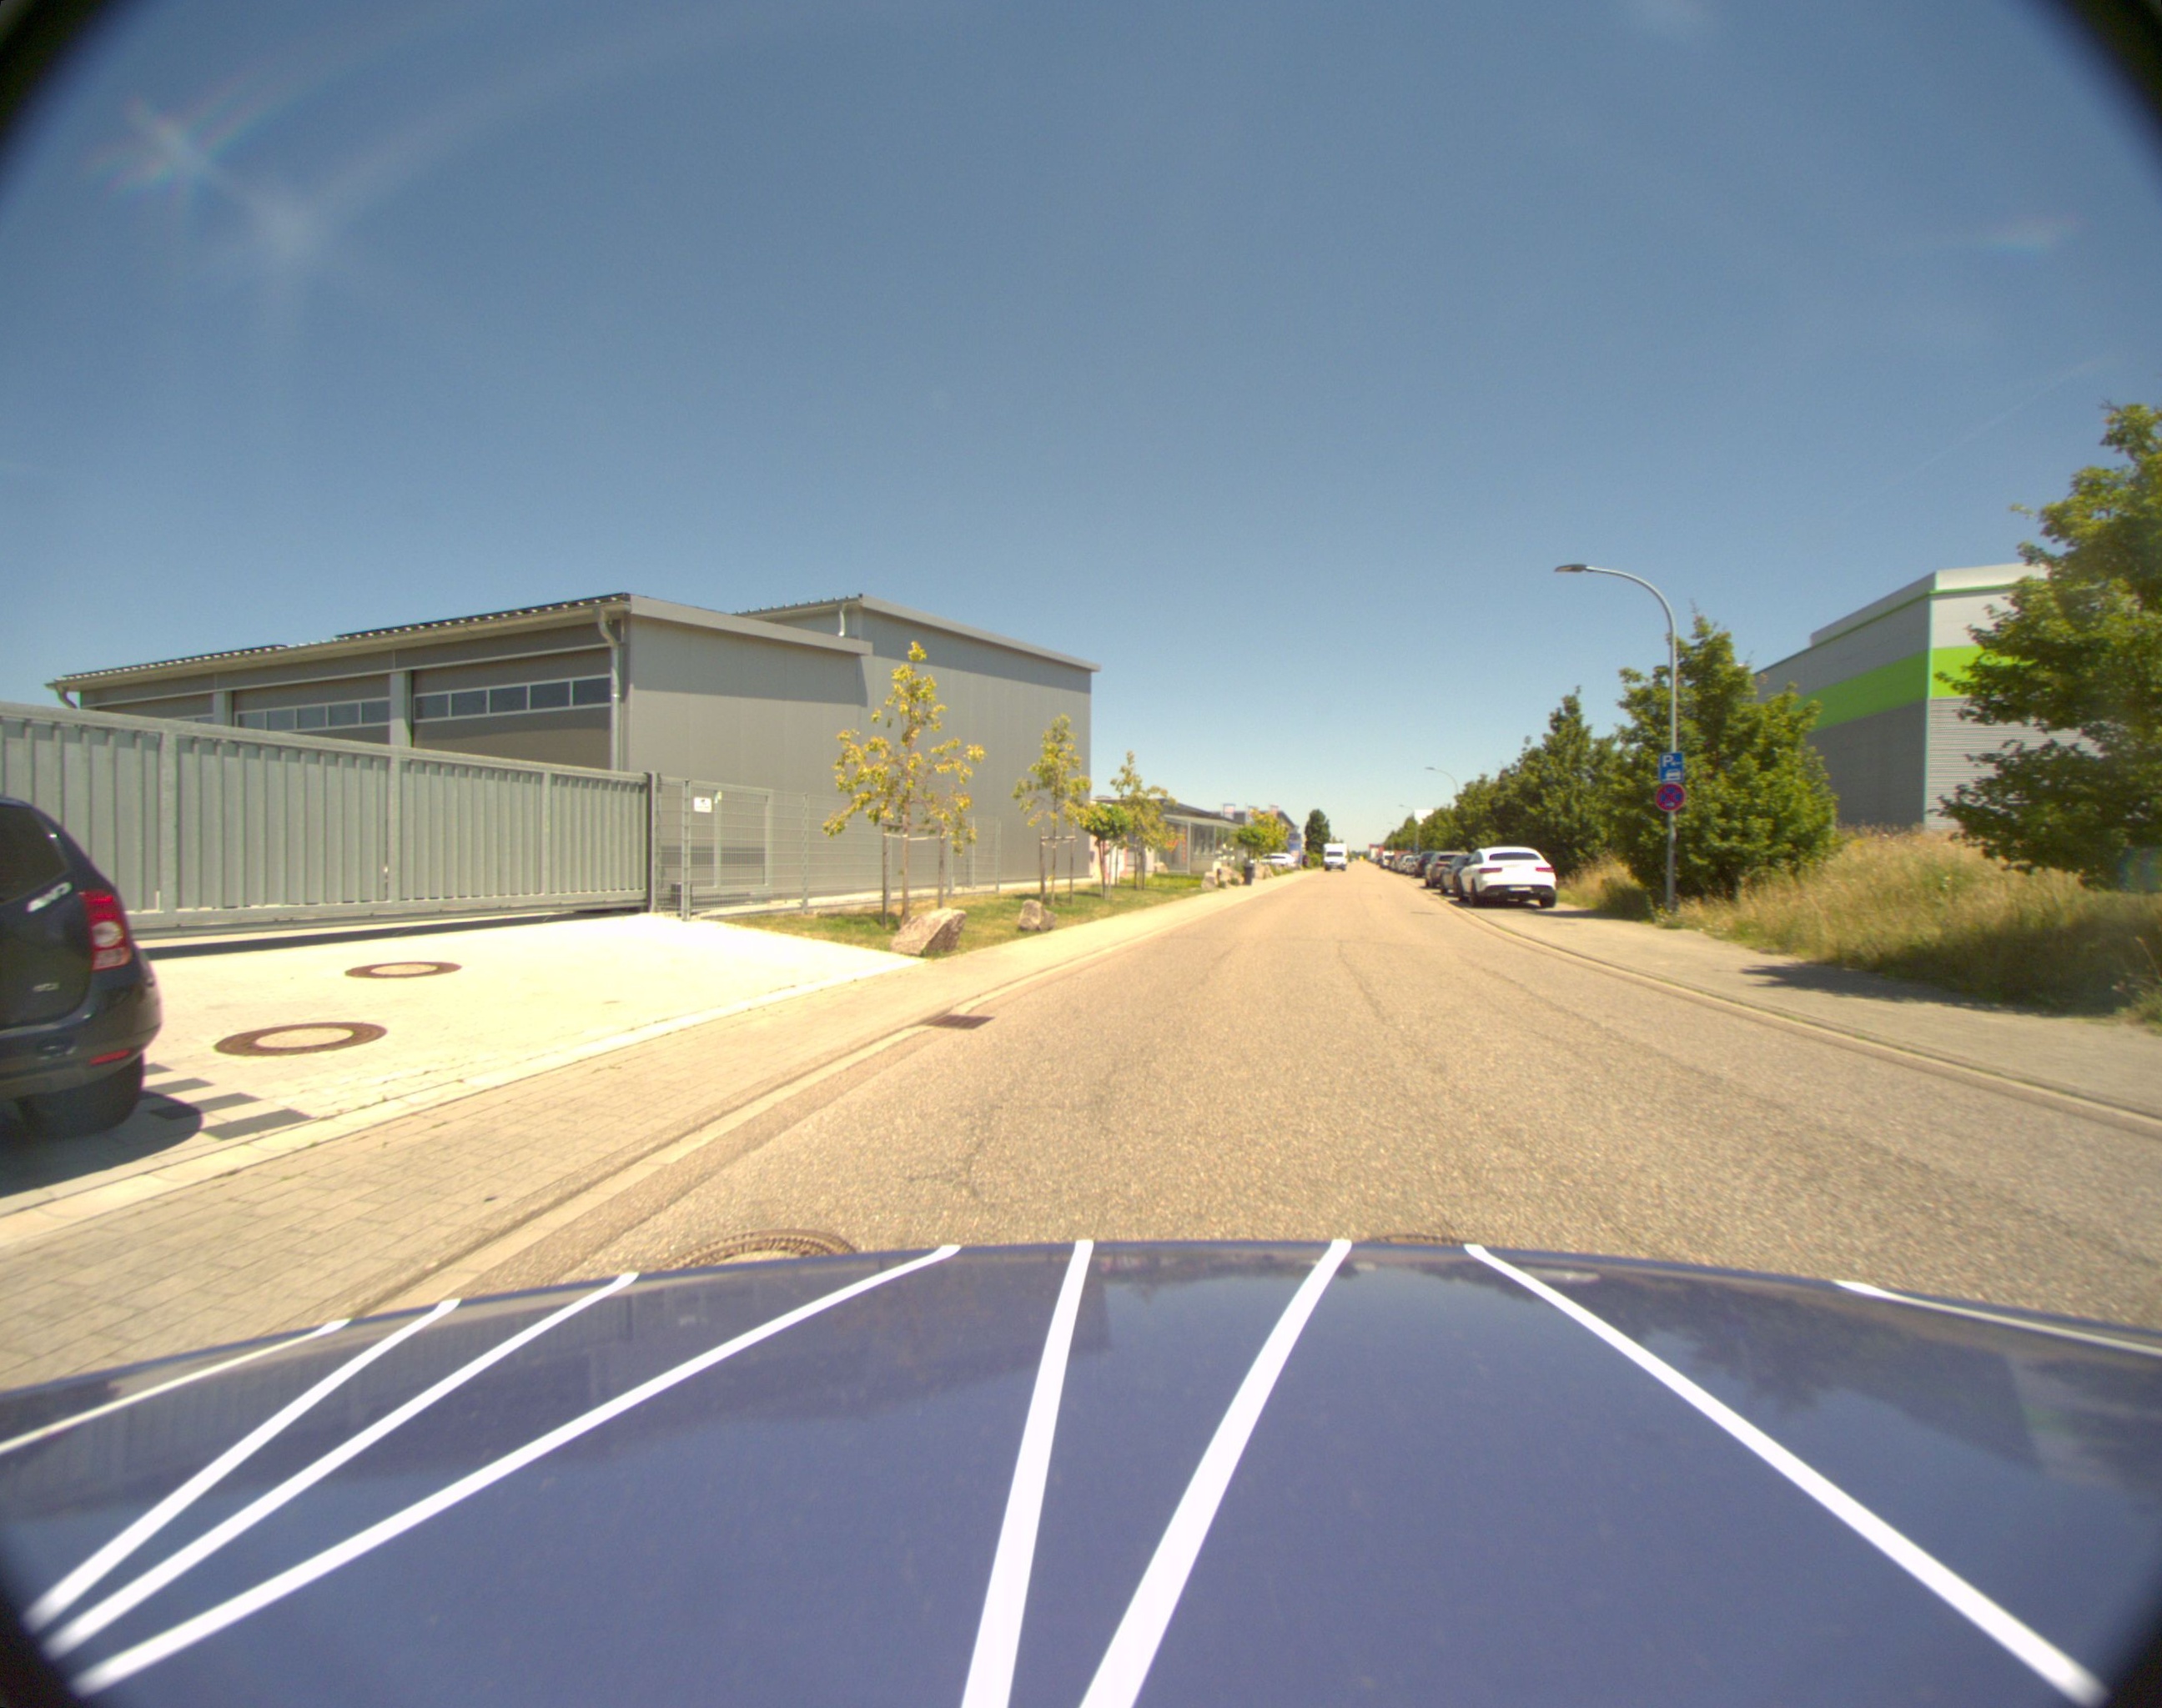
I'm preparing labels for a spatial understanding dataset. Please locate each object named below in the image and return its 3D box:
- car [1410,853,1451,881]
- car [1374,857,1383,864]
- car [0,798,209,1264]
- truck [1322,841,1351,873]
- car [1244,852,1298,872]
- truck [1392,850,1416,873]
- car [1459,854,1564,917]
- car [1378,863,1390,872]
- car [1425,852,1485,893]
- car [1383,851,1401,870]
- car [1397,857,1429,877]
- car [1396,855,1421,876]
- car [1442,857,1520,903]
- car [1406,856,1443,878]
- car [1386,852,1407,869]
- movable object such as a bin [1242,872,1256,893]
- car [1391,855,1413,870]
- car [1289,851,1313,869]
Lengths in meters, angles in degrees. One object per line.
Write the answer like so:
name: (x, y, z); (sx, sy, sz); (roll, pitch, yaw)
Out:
car: (22.606, 0.835, 49.315); (1.993, 1.703, 5.015); (-1, -1, 20)
car: (68.257, 1.439, 174.262); (1.796, 1.638, 3.837); (0, 0, 19)
car: (-5.942, 0.518, 3.028); (4.012, 1.646, 1.861); (5, 1, 20)
truck: (26.832, 0.336, 79.719); (2.459, 3.186, 6.894); (1, 0, 22)
car: (16.238, 0.675, 64.818); (4.284, 1.532, 1.916); (1, 0, 17)
truck: (32.927, 0.784, 77.534); (1.853, 2.209, 4.653); (-1, -1, 20)
car: (12.526, 0.814, 22.421); (1.914, 1.646, 4.762); (0, 0, 20)
car: (53.787, 2.355, 134.779); (1.796, 1.477, 4.459); (-1, -1, 19)
car: (16.694, 0.817, 34.070); (1.914, 1.703, 4.420); (-1, -1, 20)
car: (43.910, 0.994, 107.385); (2.325, 2.583, 6.095); (-1, -1, 21)
car: (26.811, 1.022, 61.540); (1.853, 1.510, 4.912); (-1, -1, 18)
car: (28.943, 1.014, 67.245); (1.853, 1.748, 4.995); (-1, -1, 21)
car: (14.532, 0.883, 27.821); (1.914, 1.483, 4.419); (0, 0, 20)
car: (25.085, 0.926, 55.637); (1.853, 1.510, 5.174); (-1, -1, 18)
car: (36.476, 0.736, 87.892); (1.976, 1.889, 5.410); (0, 0, 20)
movable object such as a bin: (7.770, 1.304, 35.139); (0.559, 0.941, 0.540); (2, 1, 19)
car: (34.567, 0.914, 81.940); (1.853, 1.542, 3.772); (0, 0, 18)
car: (25.143, 0.629, 86.677); (1.995, 2.002, 5.345); (0, 0, 23)
